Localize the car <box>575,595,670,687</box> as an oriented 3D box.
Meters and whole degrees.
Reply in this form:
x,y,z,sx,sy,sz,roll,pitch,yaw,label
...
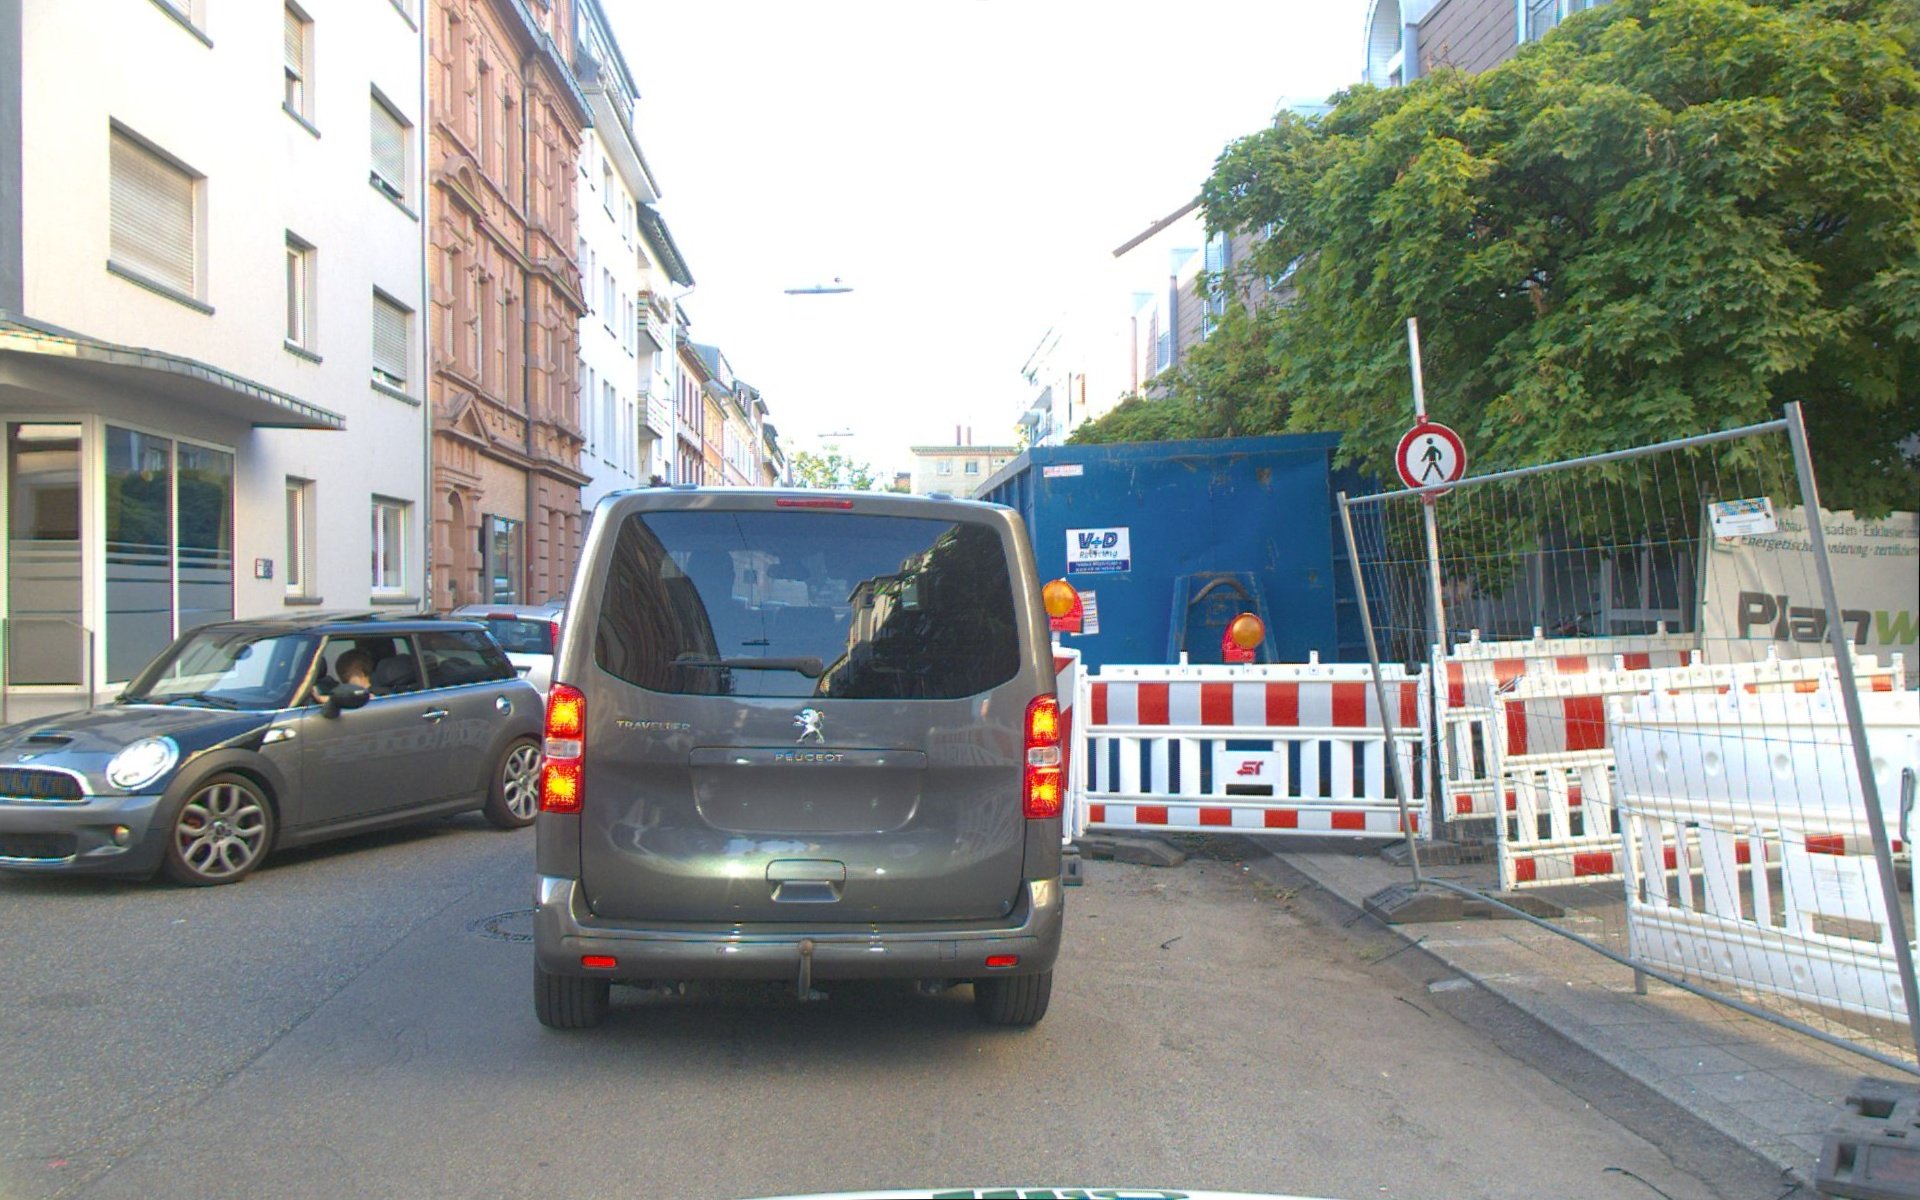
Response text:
x,y,z,sx,sy,sz,roll,pitch,yaw,label
-6.215,0.725,30.639,1.368,1.616,2.791,0,0,-4,car

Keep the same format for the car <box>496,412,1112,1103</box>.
x,y,z,sx,sy,sz,roll,pitch,yaw,label
-0.611,0.463,7.098,1.821,2.049,3.997,-2,0,-4,car

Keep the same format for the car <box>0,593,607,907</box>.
x,y,z,sx,sy,sz,roll,pitch,yaw,label
-4.119,0.722,10.208,1.952,1.512,4.000,0,0,21,car

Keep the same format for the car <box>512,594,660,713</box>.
x,y,z,sx,sy,sz,roll,pitch,yaw,label
-5.327,0.720,23.938,1.525,1.535,3.594,2,0,-4,car

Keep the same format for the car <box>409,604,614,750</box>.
x,y,z,sx,sy,sz,roll,pitch,yaw,label
-4.905,0.783,18.522,1.600,1.455,3.551,0,0,-5,car

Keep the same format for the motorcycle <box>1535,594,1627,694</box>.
x,y,z,sx,sy,sz,roll,pitch,yaw,label
8.206,0.571,21.951,0.851,1.244,2.459,-1,-1,14,motorcycle

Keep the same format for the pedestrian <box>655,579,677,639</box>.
x,y,z,sx,sy,sz,roll,pitch,yaw,label
-8.230,0.253,46.287,0.485,1.667,0.665,1,-1,-4,pedestrian

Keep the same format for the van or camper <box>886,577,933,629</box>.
x,y,z,sx,sy,sz,roll,pitch,yaw,label
-2.811,0.168,90.495,2.059,2.647,7.504,-1,0,-5,van or camper

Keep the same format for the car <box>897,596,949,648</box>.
x,y,z,sx,sy,sz,roll,pitch,yaw,label
-1.293,0.729,57.344,1.713,1.713,4.524,1,0,-1,car

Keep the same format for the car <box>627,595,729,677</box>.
x,y,z,sx,sy,sz,roll,pitch,yaw,label
-5.845,0.706,34.631,1.706,1.627,4.011,0,0,-4,car
